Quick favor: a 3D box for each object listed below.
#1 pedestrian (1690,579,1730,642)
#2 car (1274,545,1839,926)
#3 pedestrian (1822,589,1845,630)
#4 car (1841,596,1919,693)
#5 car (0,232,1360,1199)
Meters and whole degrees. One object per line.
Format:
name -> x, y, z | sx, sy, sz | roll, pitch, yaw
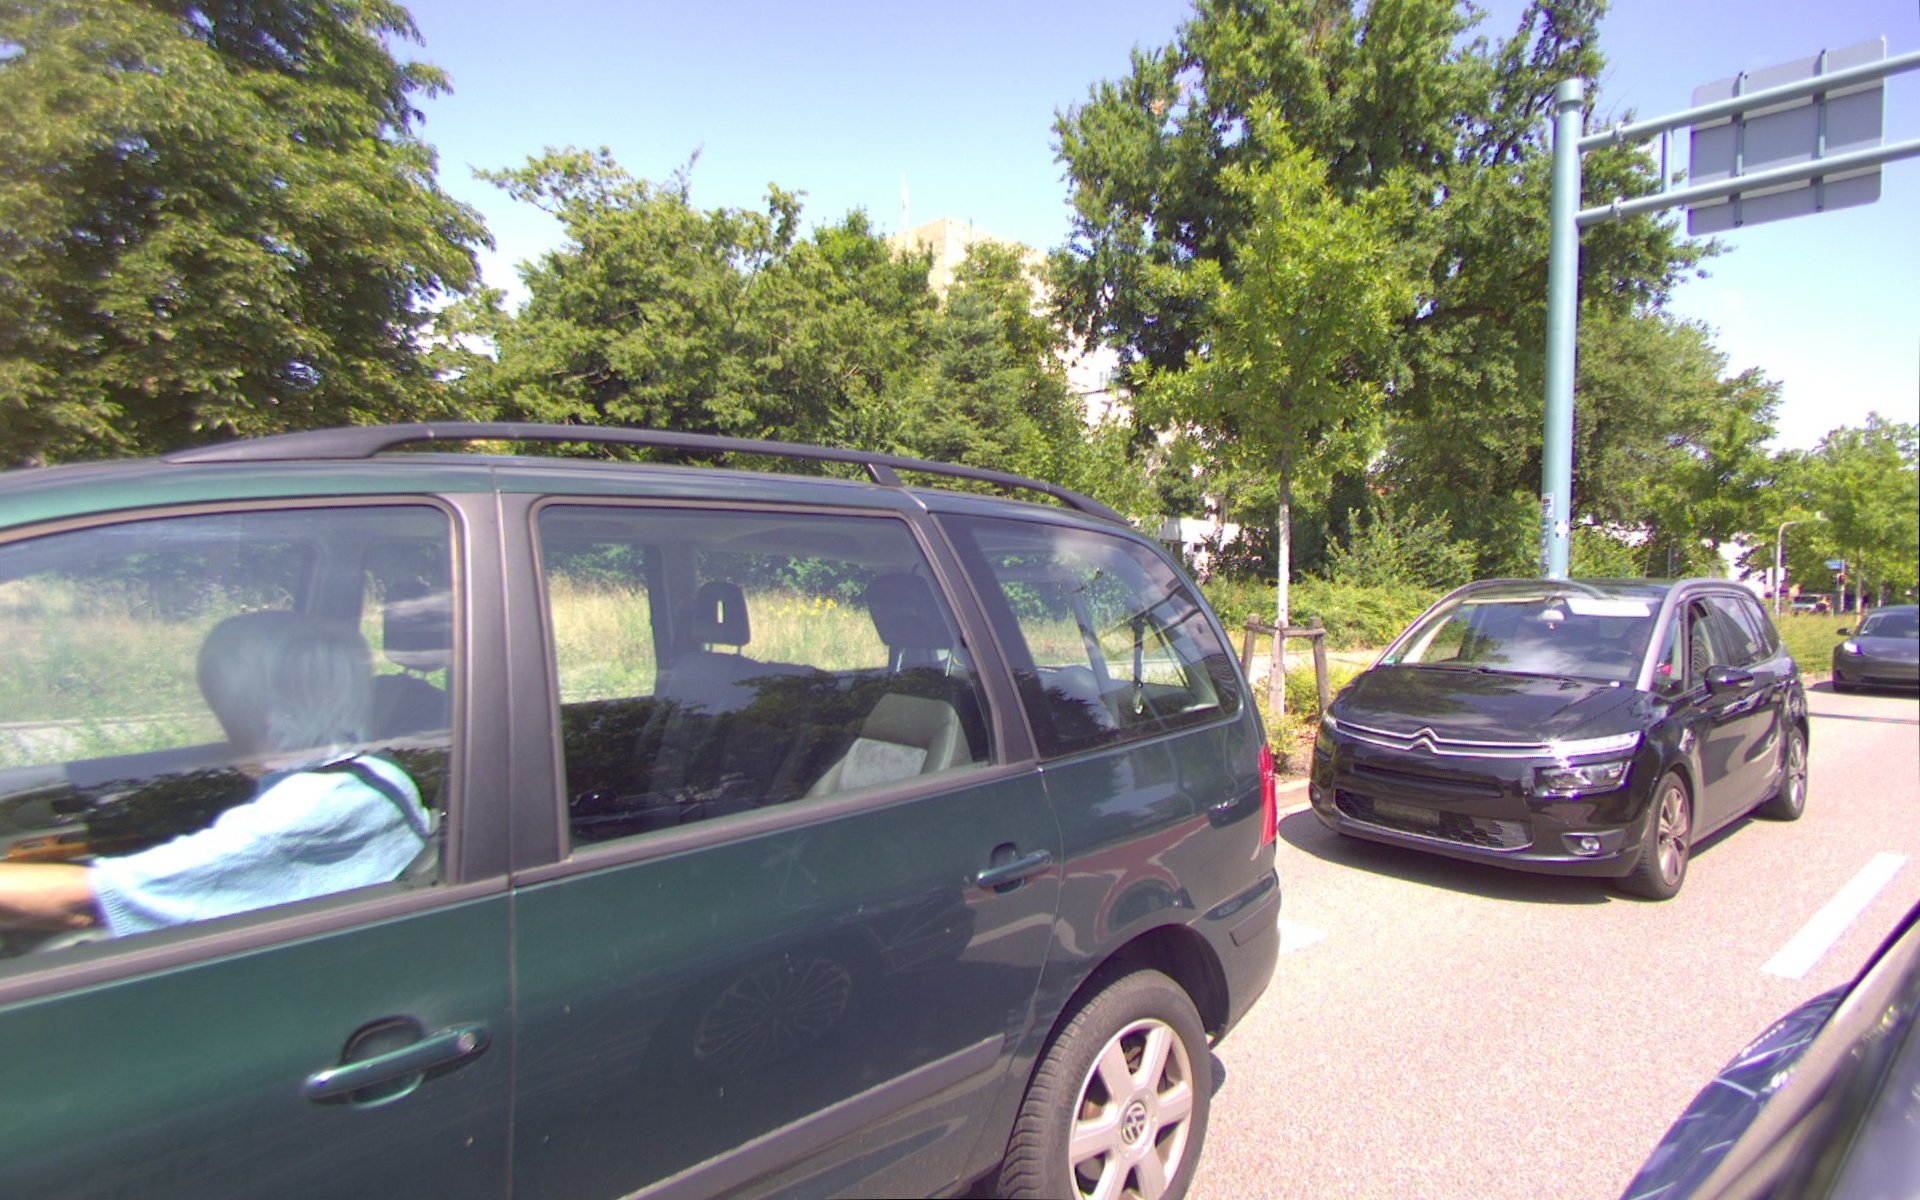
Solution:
pedestrian -> 25.112, 0.341, 33.871 | 0.885, 2.063, 0.845 | 1, 1, -39
car -> 4.023, 0.593, 6.474 | 4.400, 1.628, 1.815 | 1, -1, -41
pedestrian -> 38.560, 0.427, 44.679 | 0.635, 1.787, 0.876 | 2, 1, 34
car -> 15.846, 0.664, 16.400 | 4.085, 1.386, 1.805 | -1, 2, -41
car -> -1.141, 0.523, 1.959 | 4.315, 1.737, 1.804 | 0, -1, -41
